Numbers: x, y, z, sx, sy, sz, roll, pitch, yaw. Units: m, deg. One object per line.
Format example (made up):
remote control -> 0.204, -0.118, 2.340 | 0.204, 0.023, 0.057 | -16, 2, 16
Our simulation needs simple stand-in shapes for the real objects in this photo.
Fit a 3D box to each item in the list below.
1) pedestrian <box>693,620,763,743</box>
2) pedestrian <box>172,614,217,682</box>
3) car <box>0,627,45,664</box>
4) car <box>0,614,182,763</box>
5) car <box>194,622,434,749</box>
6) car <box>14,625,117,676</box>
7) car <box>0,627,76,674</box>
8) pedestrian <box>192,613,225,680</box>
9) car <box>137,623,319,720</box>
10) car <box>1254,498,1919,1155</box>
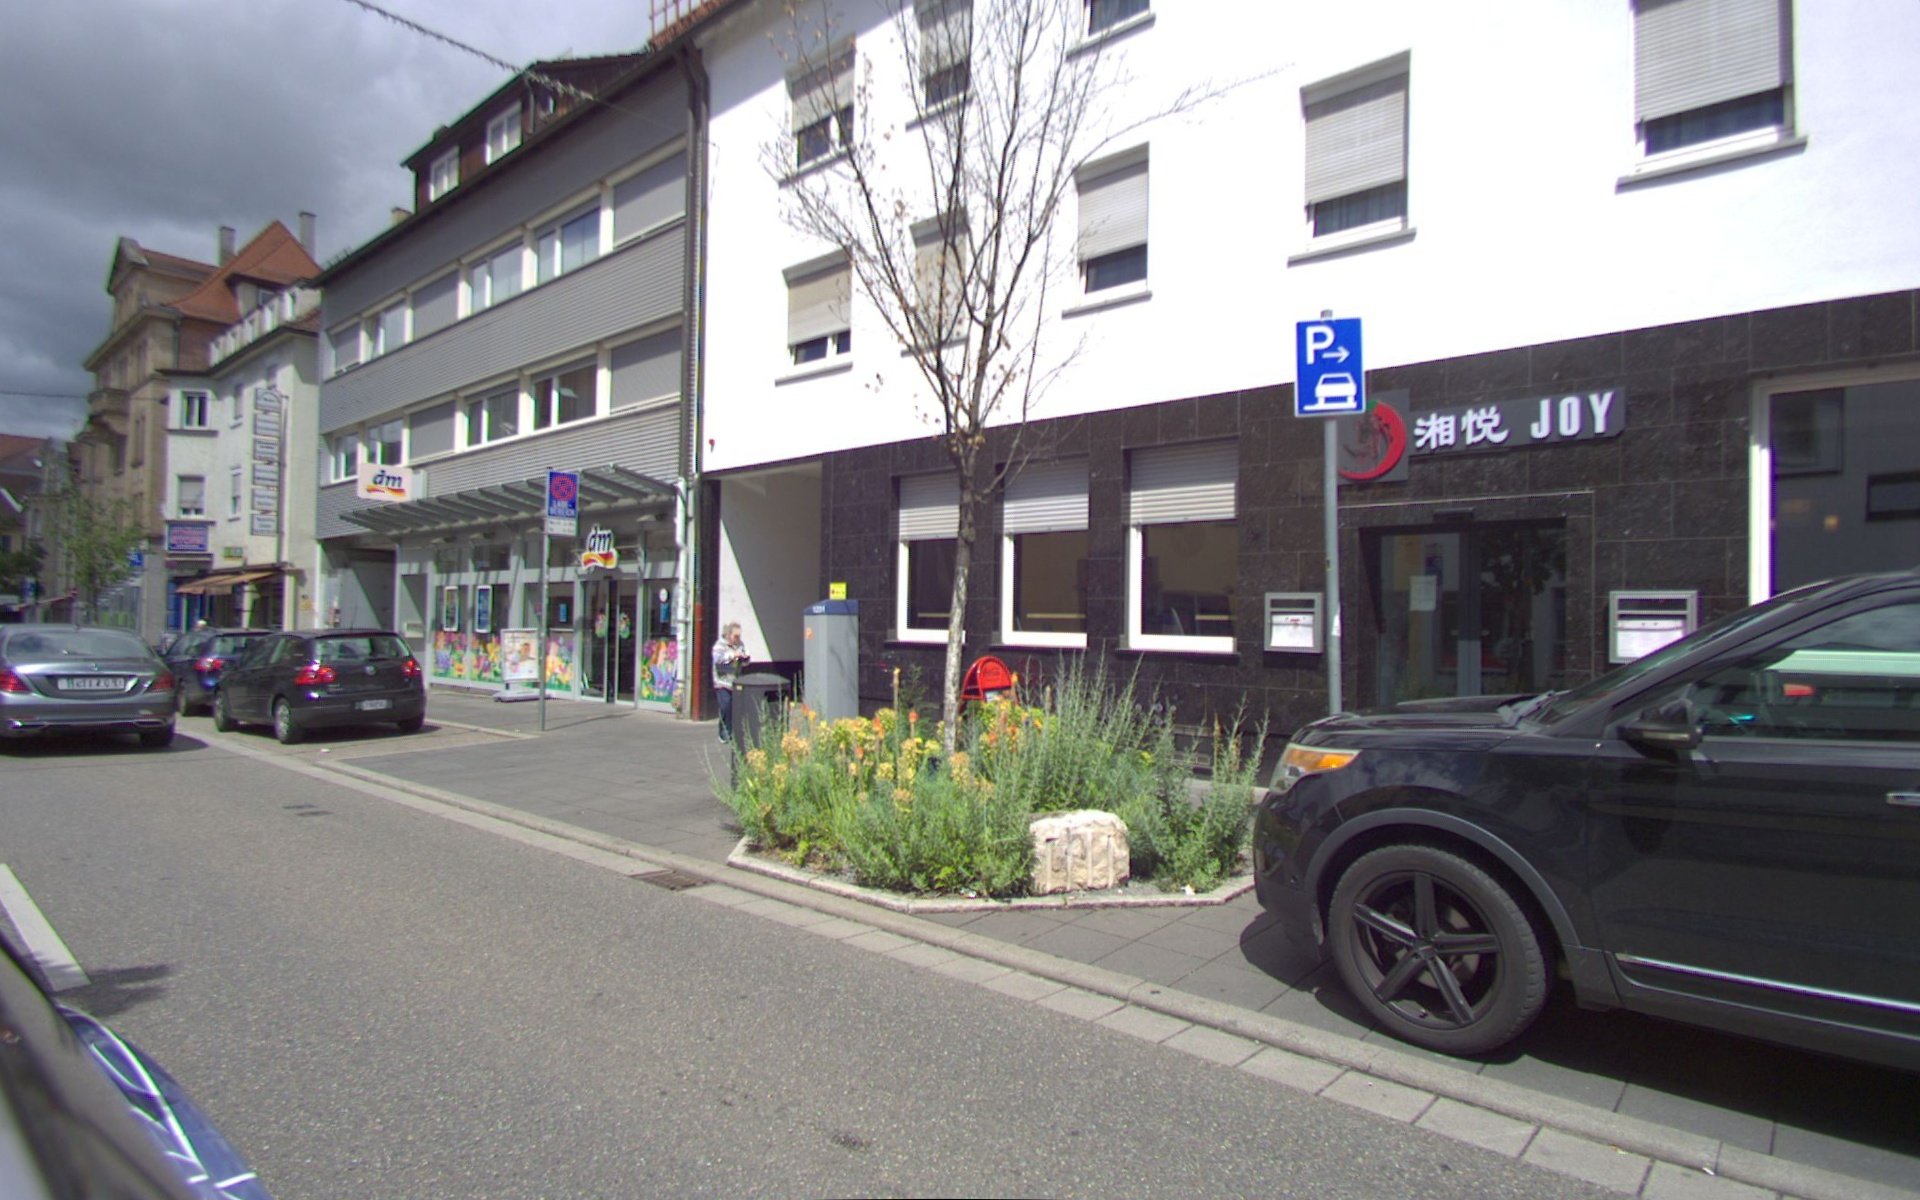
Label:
pedestrian -> -2.901, 0.997, 12.655 | 0.563, 1.466, 0.647 | -1, 0, 42
pedestrian -> -18.766, 1.158, 24.812 | 0.650, 1.630, 0.724 | 0, 0, 37
car -> -39.137, 1.840, 41.453 | 4.032, 1.408, 1.828 | 0, 0, 39
car -> -11.604, 0.991, 12.842 | 4.644, 1.575, 1.885 | 0, -3, 42
car -> -9.375, 1.103, 14.571 | 4.175, 1.515, 1.772 | -1, 0, 40
car -> -27.673, 1.529, 31.293 | 3.548, 1.457, 1.583 | -2, -1, 35
car -> -31.114, 1.662, 34.126 | 3.668, 1.425, 1.569 | 0, 0, 43
pedestrian -> -20.316, 1.233, 27.354 | 0.728, 1.770, 0.542 | 0, 0, 38
car -> -13.521, 1.201, 18.579 | 4.711, 1.524, 1.771 | -1, -1, 42
car -> 3.478, 0.604, 3.100 | 4.670, 1.768, 1.796 | 0, 0, 44
